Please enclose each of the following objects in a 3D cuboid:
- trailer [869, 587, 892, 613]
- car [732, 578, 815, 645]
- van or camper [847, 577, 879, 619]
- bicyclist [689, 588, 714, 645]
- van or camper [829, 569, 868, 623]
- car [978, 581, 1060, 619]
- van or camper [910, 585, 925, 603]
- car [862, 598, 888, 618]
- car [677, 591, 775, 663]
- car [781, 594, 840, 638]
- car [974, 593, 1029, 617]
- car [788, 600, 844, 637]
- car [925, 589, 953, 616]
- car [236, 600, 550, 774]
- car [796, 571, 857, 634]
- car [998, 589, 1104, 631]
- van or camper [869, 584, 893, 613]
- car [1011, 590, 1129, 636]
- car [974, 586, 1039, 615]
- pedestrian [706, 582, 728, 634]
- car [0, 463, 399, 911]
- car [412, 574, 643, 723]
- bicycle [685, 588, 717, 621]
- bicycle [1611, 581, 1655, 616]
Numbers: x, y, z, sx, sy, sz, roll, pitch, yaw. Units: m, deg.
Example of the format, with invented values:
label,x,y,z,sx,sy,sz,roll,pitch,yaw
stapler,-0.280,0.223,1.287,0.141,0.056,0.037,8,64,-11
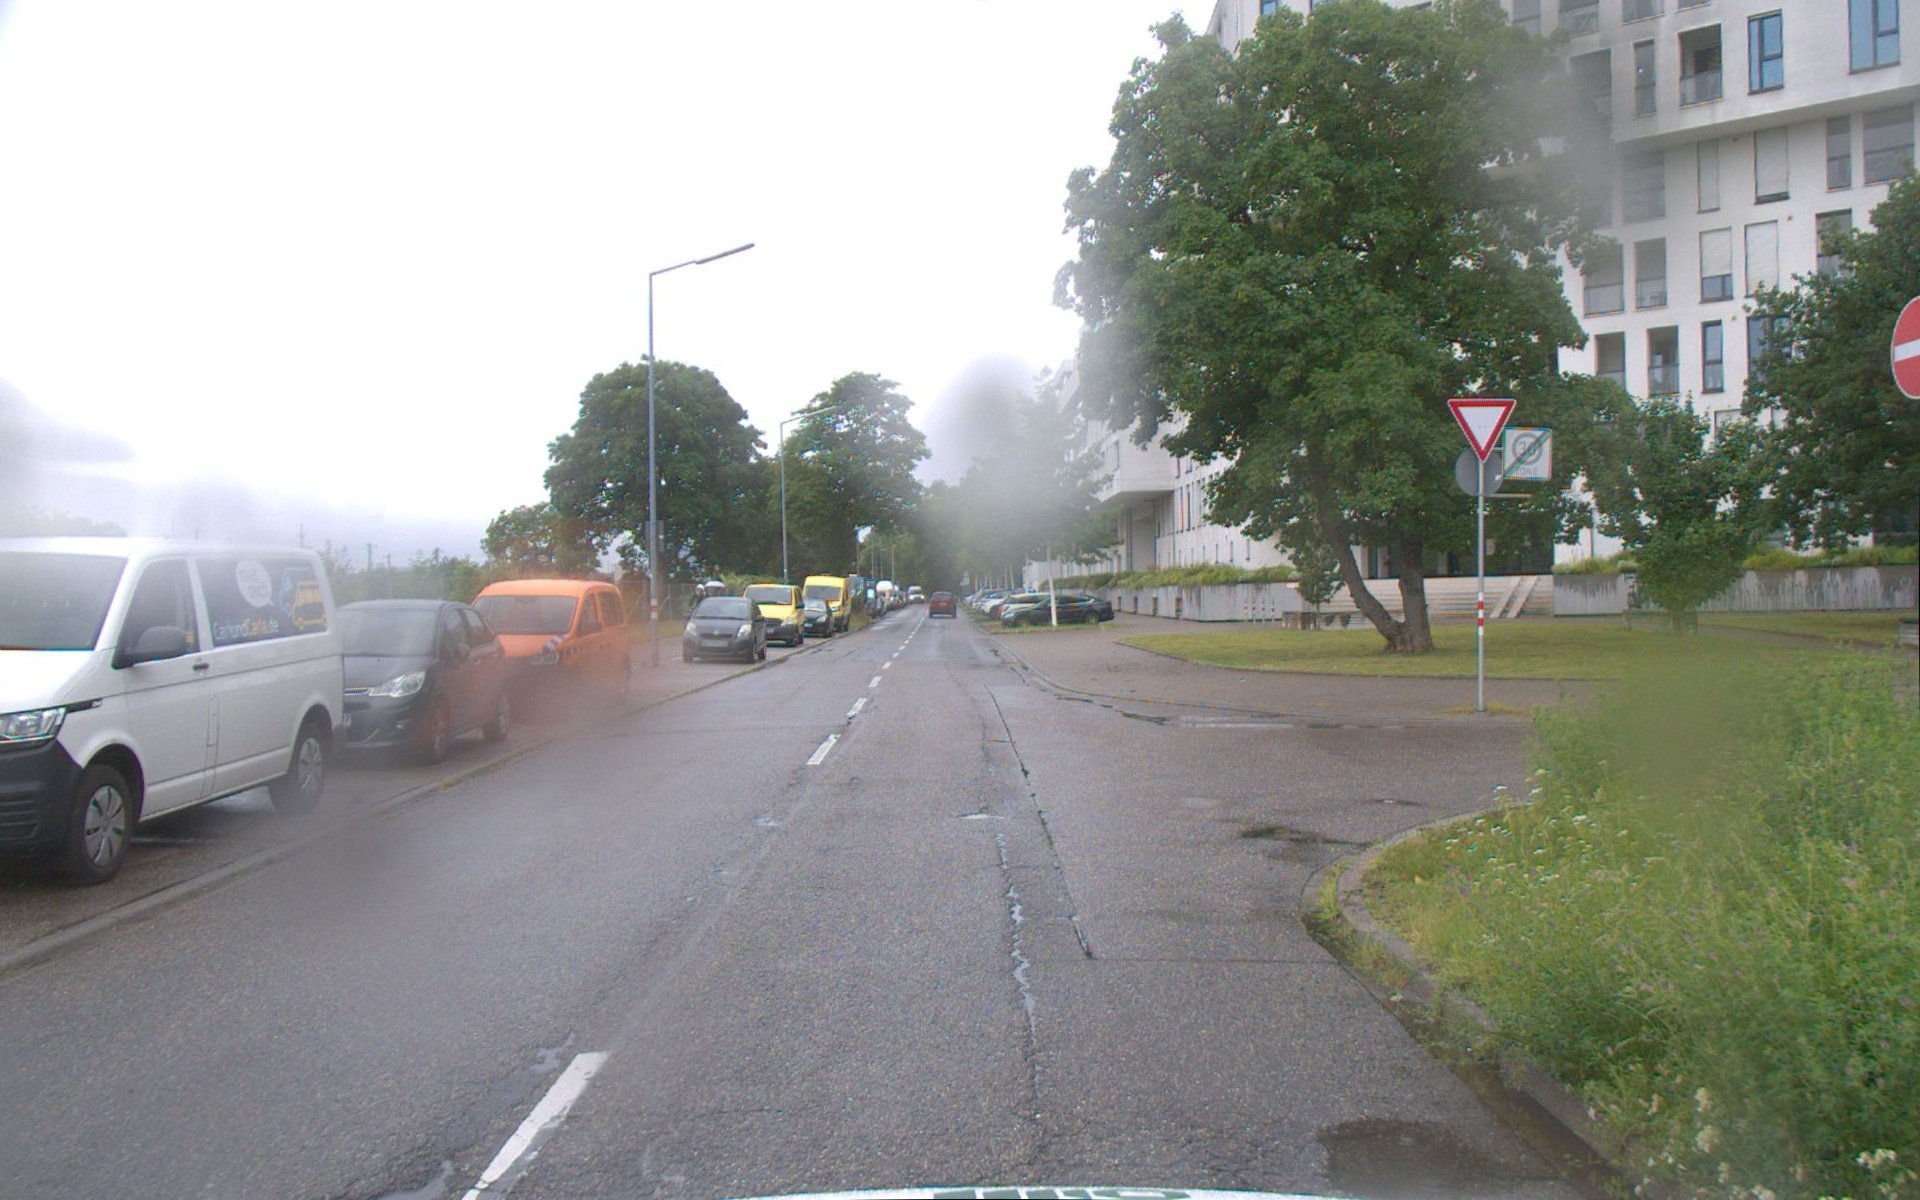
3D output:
label,x,y,z,sx,sy,sz,roll,pitch,yaw
trailer,-7.252,-0.006,150.989,2.017,2.256,5.792,0,0,-2
car,-5.827,0.356,52.374,1.976,1.990,6.064,1,0,-1
van or camper,-6.756,-0.098,116.062,2.052,2.763,7.570,1,-1,-2
bicyclist,-8.506,0.538,54.465,0.684,1.861,1.008,0,0,0
van or camper,-6.737,-0.211,100.700,2.052,3.148,6.421,1,-1,-2
car,3.358,-0.001,94.833,4.451,1.714,1.884,-6,0,-4
van or camper,-6.303,-0.917,244.596,1.953,2.541,7.178,-2,0,0
car,-6.605,0.627,128.817,1.737,1.529,4.827,1,0,0
car,-5.555,0.600,39.678,1.767,1.588,4.032,2,0,0
car,-5.793,0.609,64.672,1.953,1.622,5.015,1,0,-2
car,3.009,0.334,121.345,3.906,1.536,1.684,-3,1,-1
car,-6.057,0.762,70.001,1.969,1.459,5.338,2,0,-1
car,-1.354,0.132,110.060,1.720,1.735,4.000,-1,0,1
car,-5.695,0.781,17.301,1.649,1.528,4.891,-1,0,-1
car,-6.109,0.125,76.418,2.146,2.741,6.082,1,0,1
car,3.932,0.415,71.875,4.397,1.507,1.692,-4,0,-1
van or camper,-7.855,-0.139,165.114,1.953,2.810,7.897,0,0,0
car,4.347,0.520,65.916,4.479,1.523,1.825,-4,0,-2
car,3.253,0.030,116.545,4.387,1.716,1.935,-4,1,-2
pedestrian,-9.637,0.324,65.702,0.727,2.049,0.980,0,0,0
car,-5.670,0.444,11.176,1.903,2.275,5.556,-1,0,-1
car,-5.737,0.589,22.501,1.900,1.798,4.331,-1,0,1
bicycle,-8.505,0.132,54.415,0.701,1.060,2.144,0,0,0
bicycle,21.164,-0.058,51.984,0.711,1.051,2.064,-1,0,38
